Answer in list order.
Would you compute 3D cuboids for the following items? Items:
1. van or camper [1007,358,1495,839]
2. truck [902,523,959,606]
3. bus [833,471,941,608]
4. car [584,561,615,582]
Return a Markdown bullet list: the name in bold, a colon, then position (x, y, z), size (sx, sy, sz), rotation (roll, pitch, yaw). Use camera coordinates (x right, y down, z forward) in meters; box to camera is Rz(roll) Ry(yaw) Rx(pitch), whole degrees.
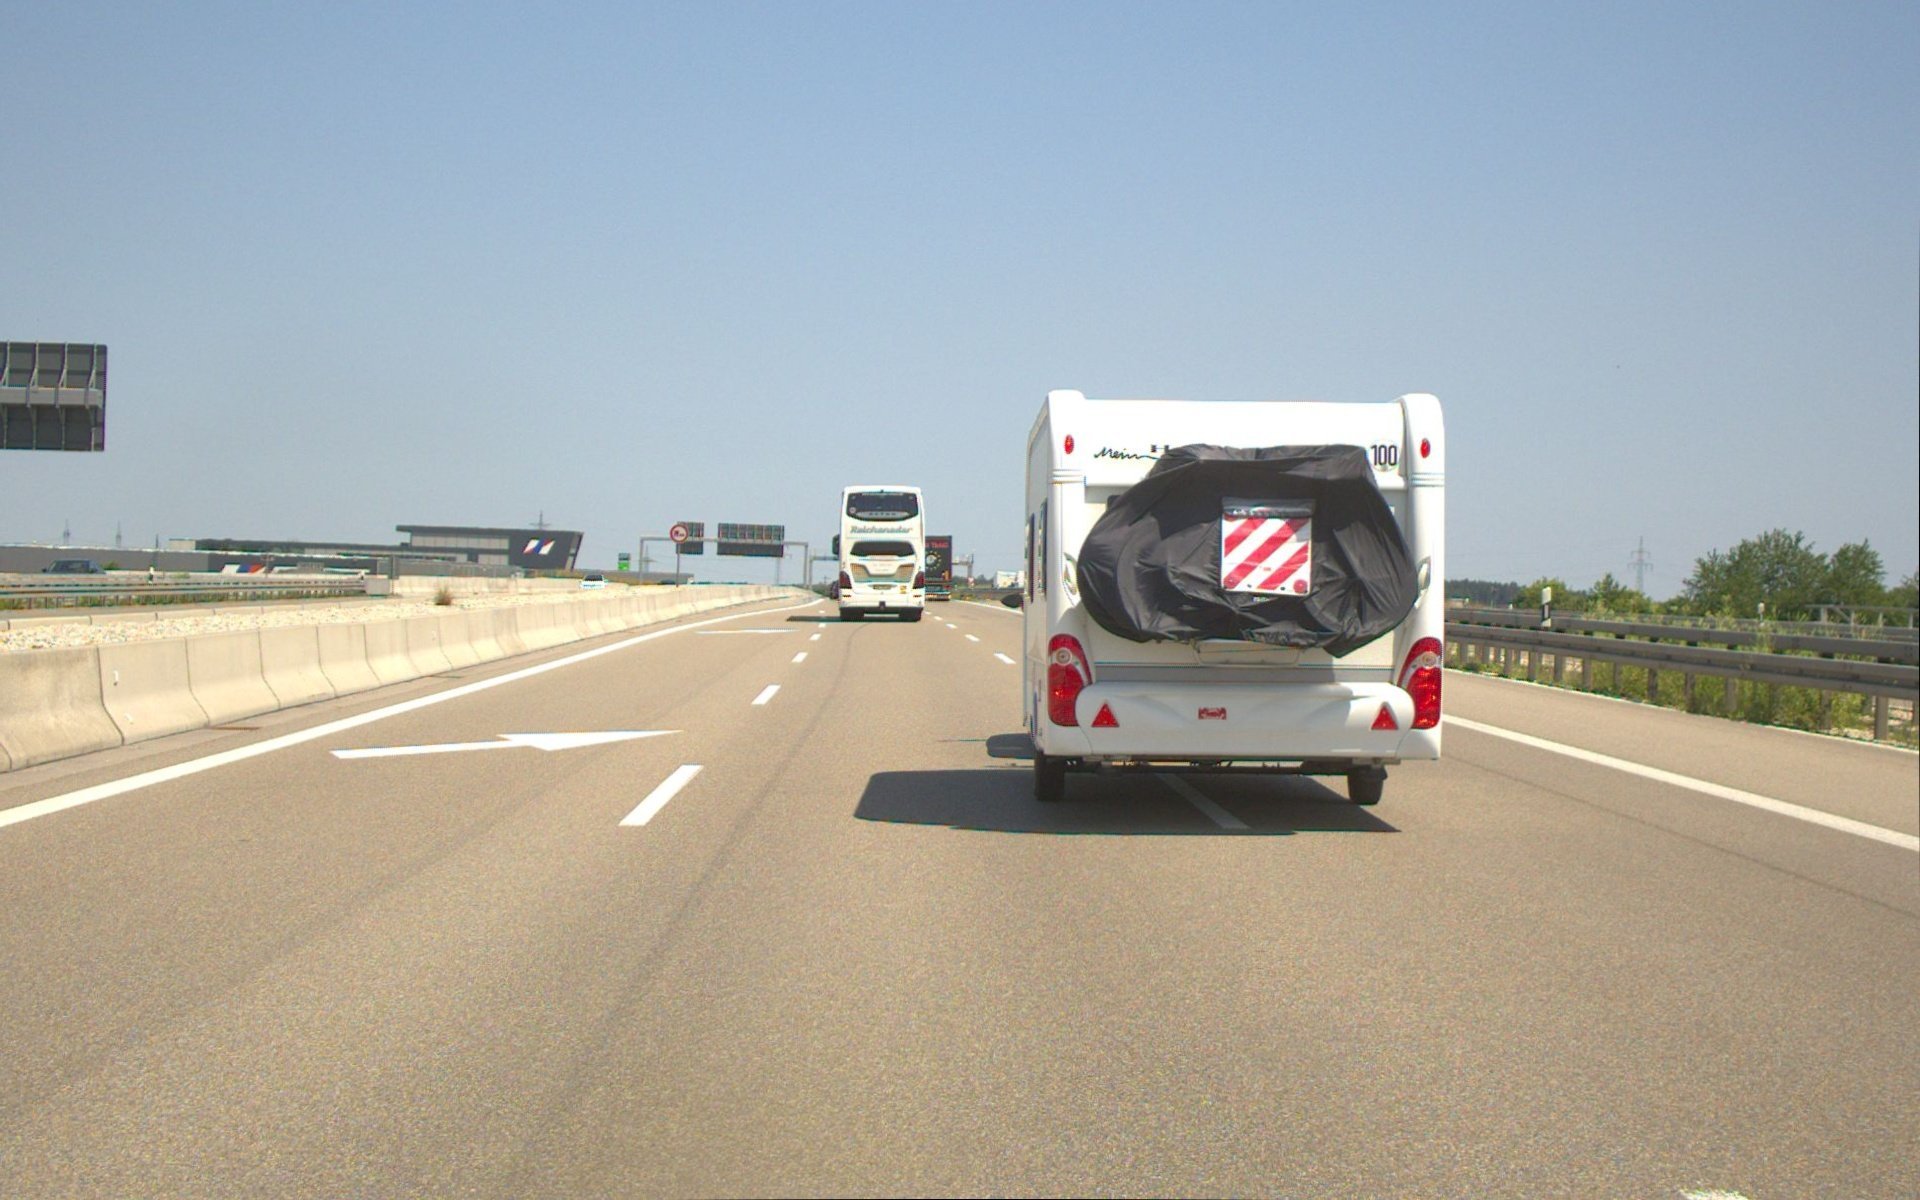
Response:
- **van or camper**: position (1.635, -0.061, 22.598), size (2.512, 2.584, 7.817), rotation (1, 1, 0)
- **truck**: position (-1.822, -2.136, 214.947), size (3.379, 4.449, 13.566), rotation (1, -2, 0)
- **bus**: position (-2.308, -1.837, 105.398), size (2.980, 3.961, 9.106), rotation (1, 1, -3)
- **car**: position (-25.542, -2.028, 243.481), size (1.809, 1.430, 4.442), rotation (1, 0, -2)
